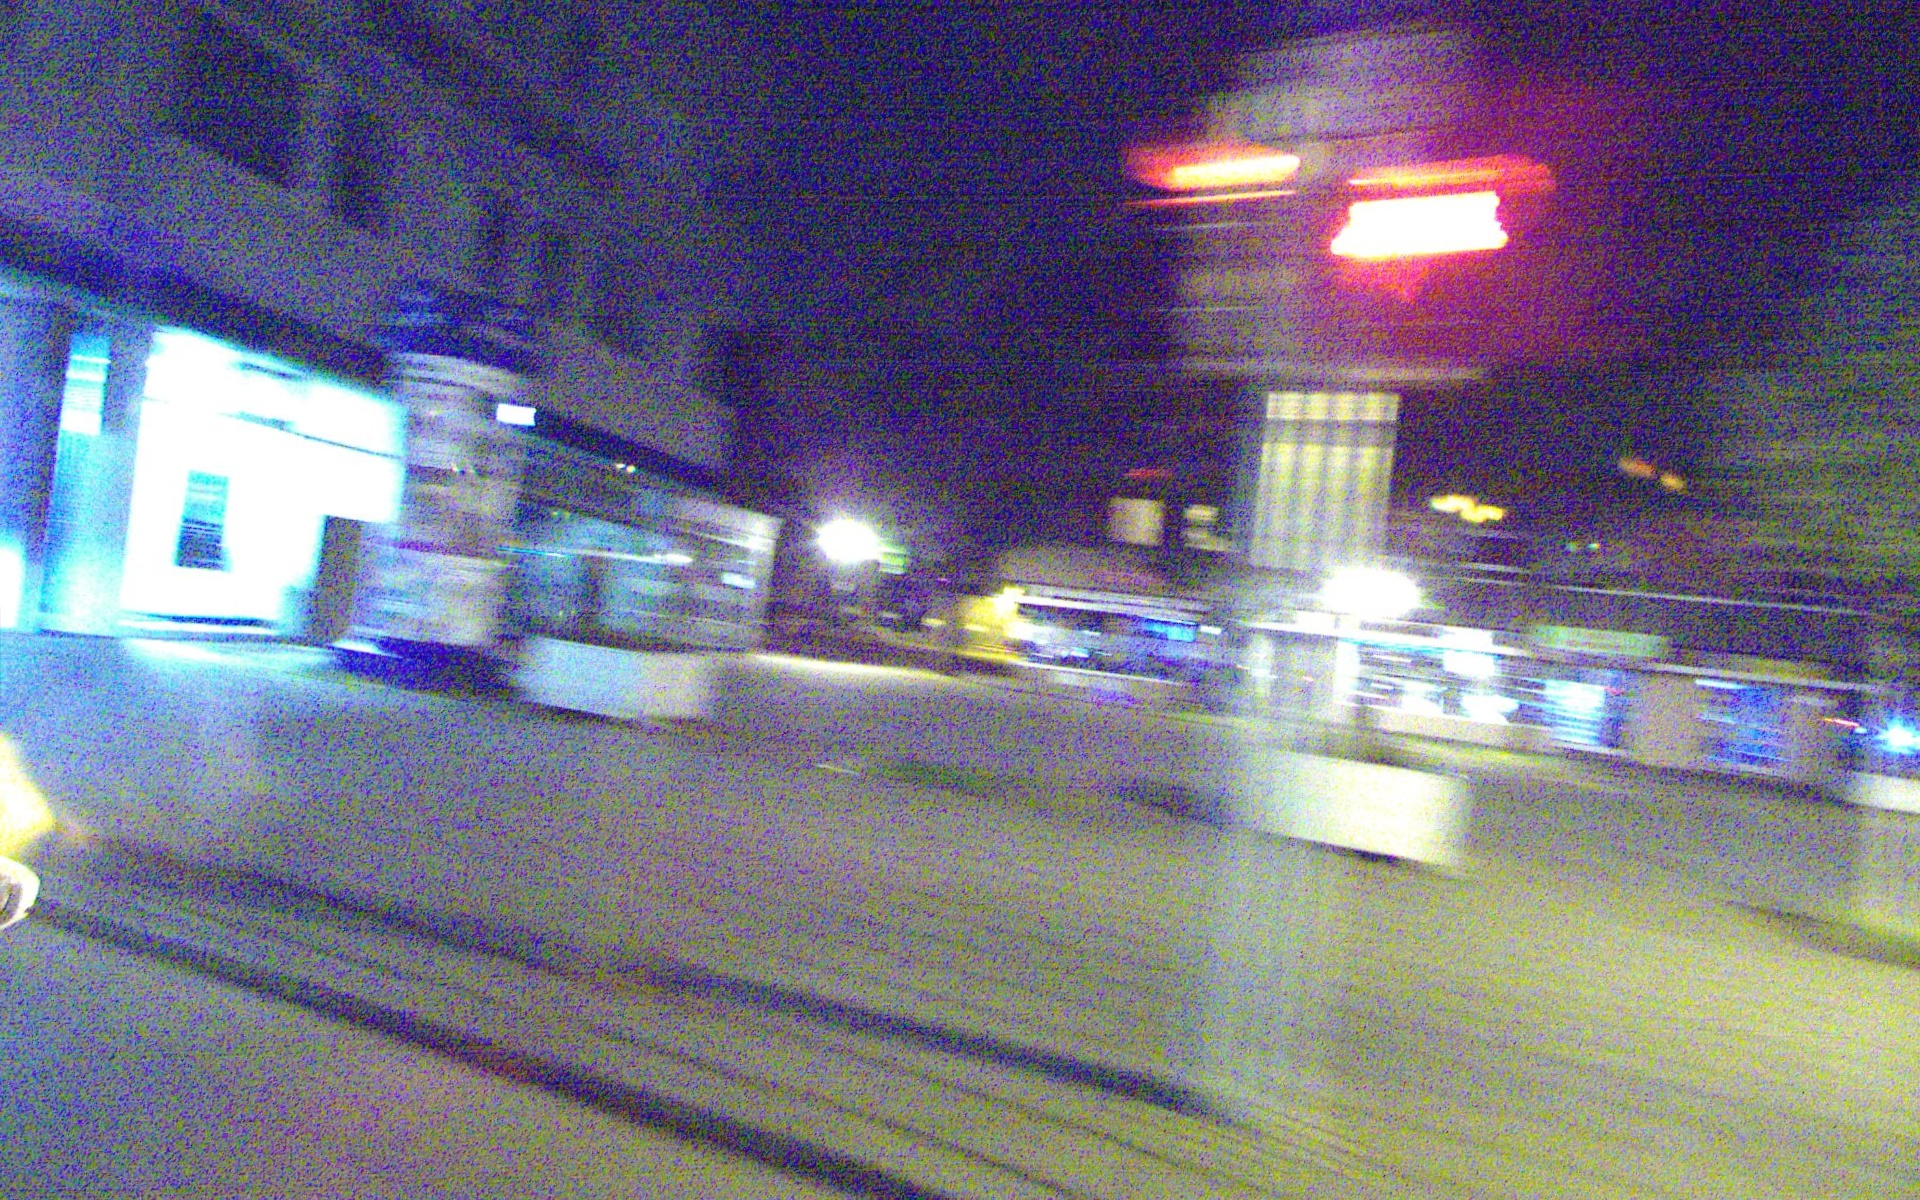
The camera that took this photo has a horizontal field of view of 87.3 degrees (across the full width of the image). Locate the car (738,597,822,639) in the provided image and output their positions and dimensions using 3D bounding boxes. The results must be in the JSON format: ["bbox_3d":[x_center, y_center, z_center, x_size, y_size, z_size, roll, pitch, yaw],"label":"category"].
[{"bbox_3d":[-7.611,0.803,42.958,1.888,1.469,4.002,8,0,15],"label":"car"}]
